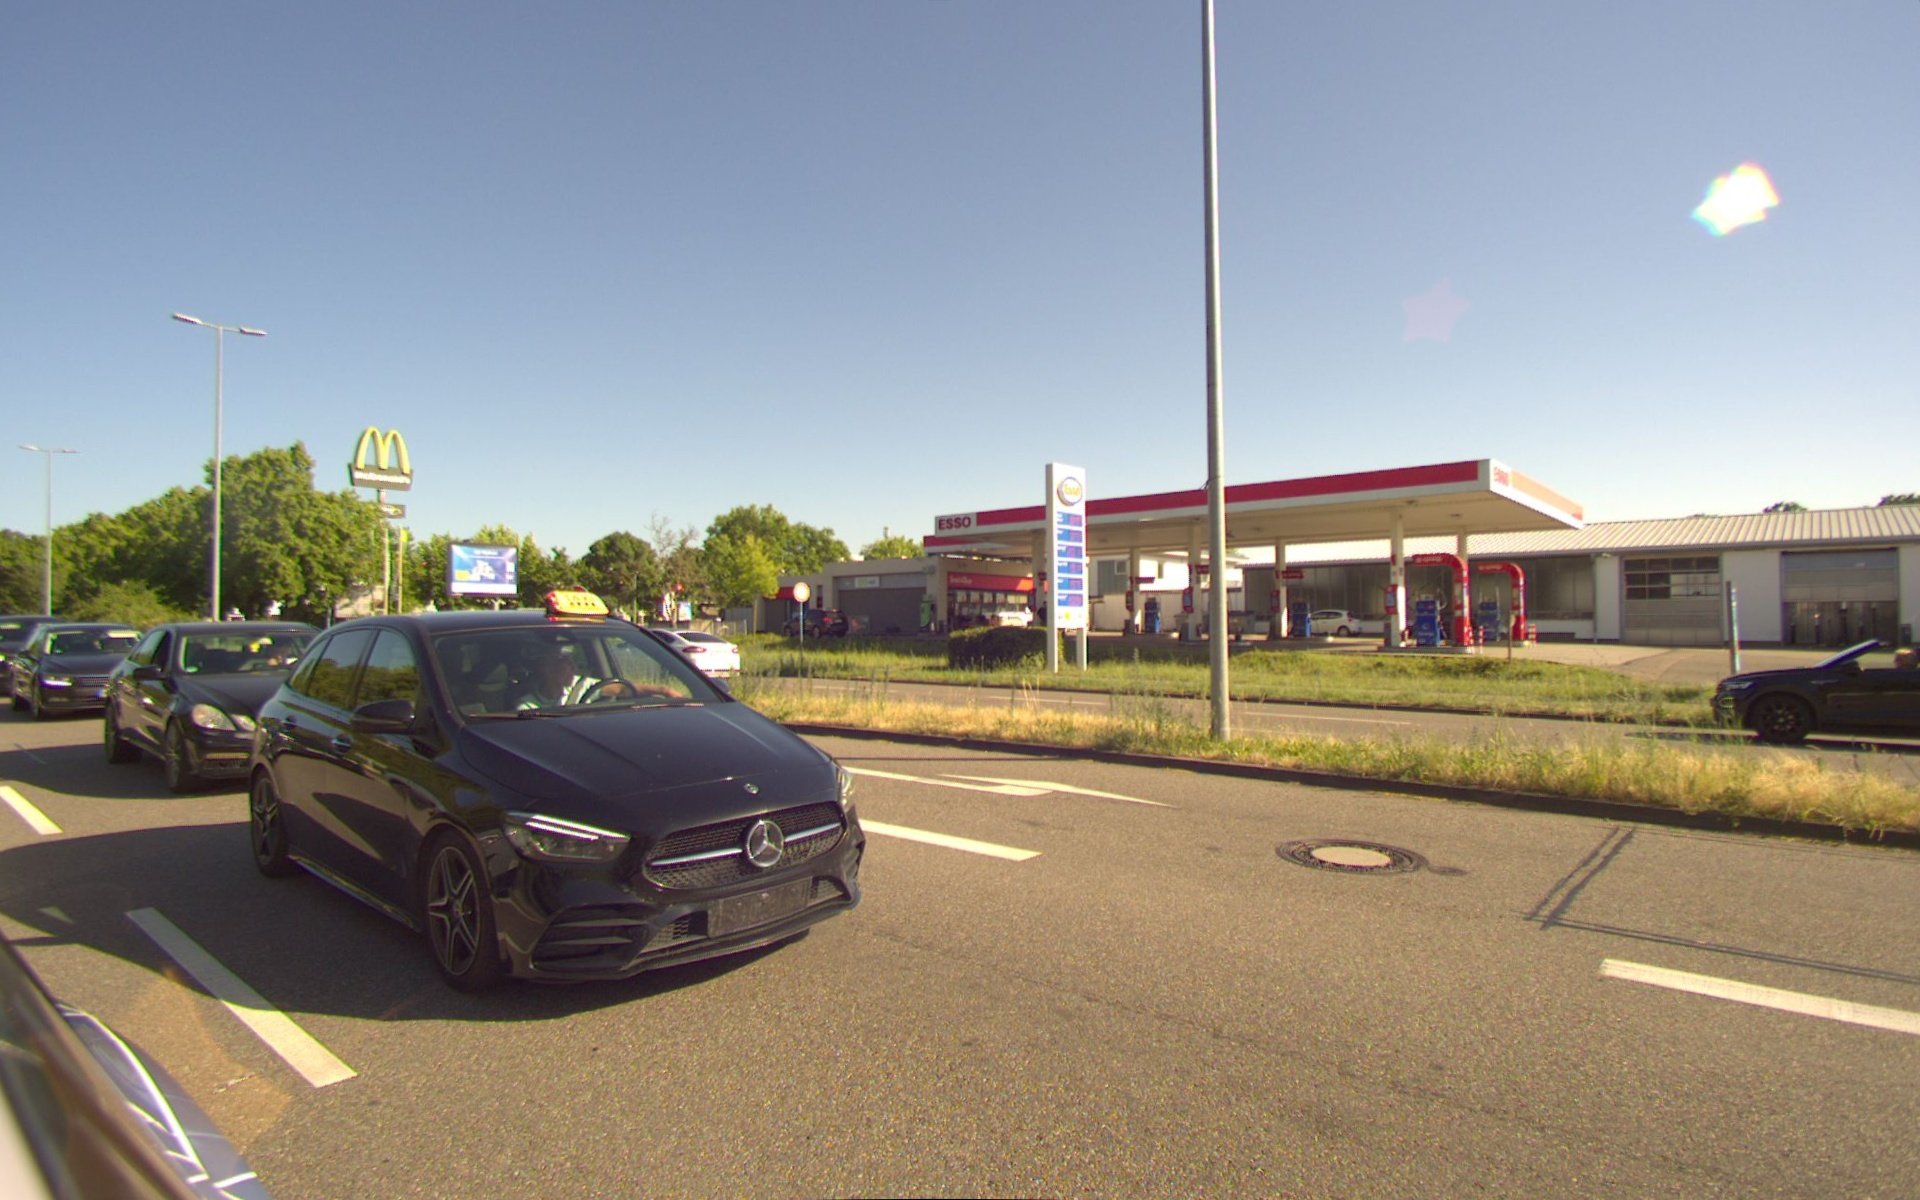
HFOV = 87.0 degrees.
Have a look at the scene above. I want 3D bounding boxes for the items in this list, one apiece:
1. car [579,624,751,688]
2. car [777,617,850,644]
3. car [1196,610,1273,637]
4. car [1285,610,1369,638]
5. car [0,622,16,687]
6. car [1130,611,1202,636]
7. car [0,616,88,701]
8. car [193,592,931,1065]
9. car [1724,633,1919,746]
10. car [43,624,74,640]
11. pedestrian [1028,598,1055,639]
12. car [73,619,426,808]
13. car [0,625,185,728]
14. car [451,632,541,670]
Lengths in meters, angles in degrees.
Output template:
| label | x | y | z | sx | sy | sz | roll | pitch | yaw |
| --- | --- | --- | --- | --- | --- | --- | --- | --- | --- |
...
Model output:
| label | x | y | z | sx | sy | sz | roll | pitch | yaw |
| --- | --- | --- | --- | --- | --- | --- | --- | --- | --- |
| car | -7.784 | 1.448 | 26.500 | 4.872 | 1.502 | 1.742 | -1 | -4 | 38 |
| car | -7.927 | 1.642 | 54.715 | 3.975 | 1.420 | 1.661 | -1 | -4 | 40 |
| car | 15.842 | 1.362 | 58.574 | 3.975 | 1.420 | 1.661 | -1 | -4 | 40 |
| car | 19.845 | 1.310 | 54.832 | 3.975 | 1.420 | 1.661 | -1 | -4 | 40 |
| car | -25.213 | 1.379 | 25.528 | 3.774 | 1.567 | 1.615 | -1 | -1 | 40 |
| car | 12.444 | 1.406 | 61.373 | 3.975 | 1.420 | 1.661 | -1 | -4 | 40 |
| car | -19.973 | 1.195 | 21.469 | 3.876 | 1.629 | 1.653 | -2 | -1 | 40 |
| car | -2.370 | 0.745 | 5.325 | 4.400 | 1.502 | 1.741 | -1 | 0 | 40 |
| car | 12.842 | 1.201 | 13.635 | 3.975 | 1.420 | 1.741 | -1 | -4 | 40 |
| car | -88.705 | 3.144 | 99.571 | 3.975 | 1.420 | 1.741 | -1 | -4 | 40 |
| pedestrian | 3.523 | 0.790 | 43.749 | 0.903 | 1.763 | 0.780 | -1 | 0 | 41 |
| car | -7.249 | 0.939 | 10.151 | 4.400 | 1.449 | 1.845 | -1 | 0 | 40 |
| car | -14.440 | 1.163 | 16.682 | 4.284 | 1.438 | 1.775 | -1 | 0 | 40 |
| car | -18.723 | 2.059 | 40.761 | 3.975 | 1.420 | 1.741 | -1 | -4 | 40 |
